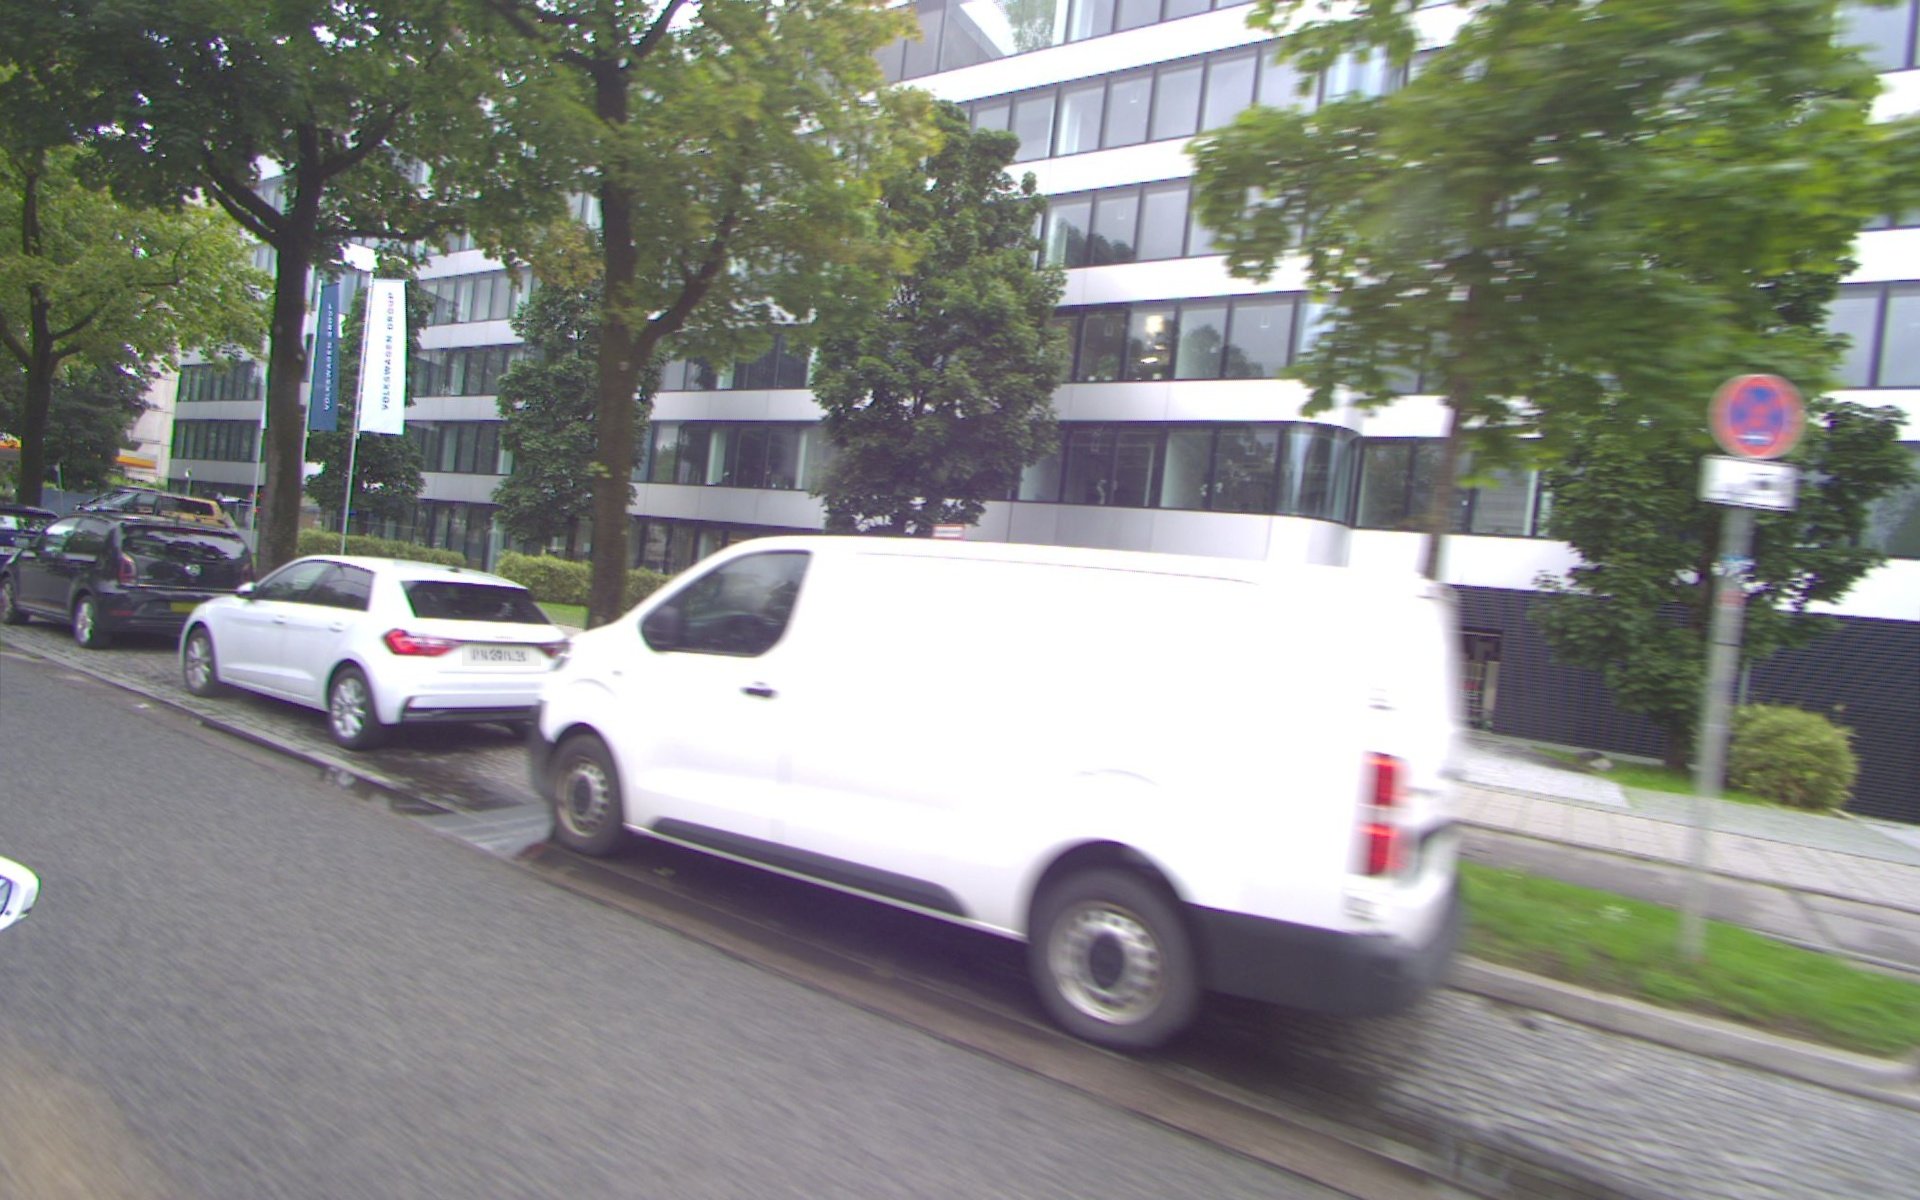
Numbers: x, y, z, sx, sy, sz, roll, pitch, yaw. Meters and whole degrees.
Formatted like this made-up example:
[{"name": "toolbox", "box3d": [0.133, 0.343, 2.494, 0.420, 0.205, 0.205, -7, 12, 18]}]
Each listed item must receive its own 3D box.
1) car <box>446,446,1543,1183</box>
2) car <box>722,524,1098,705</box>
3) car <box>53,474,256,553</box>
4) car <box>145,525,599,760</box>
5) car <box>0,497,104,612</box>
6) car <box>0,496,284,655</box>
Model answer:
[{"name": "car", "box3d": [-0.174, 0.502, 5.405, 5.464, 2.185, 1.988, 7, 1, 33]}, {"name": "car", "box3d": [-0.998, 0.164, 17.602, 6.162, 2.336, 2.267, 7, 1, 31]}, {"name": "car", "box3d": [-30.121, -3.191, 37.854, 2.111, 2.109, 5.476, 7, 0, 31]}, {"name": "car", "box3d": [-5.323, 0.269, 8.947, 4.163, 1.415, 1.703, 7, 1, 33]}, {"name": "car", "box3d": [-14.384, -0.795, 14.692, 4.053, 1.439, 1.703, 7, 1, 33]}, {"name": "car", "box3d": [-10.024, -0.328, 12.063, 3.913, 1.465, 1.703, 7, 1, 33]}]
